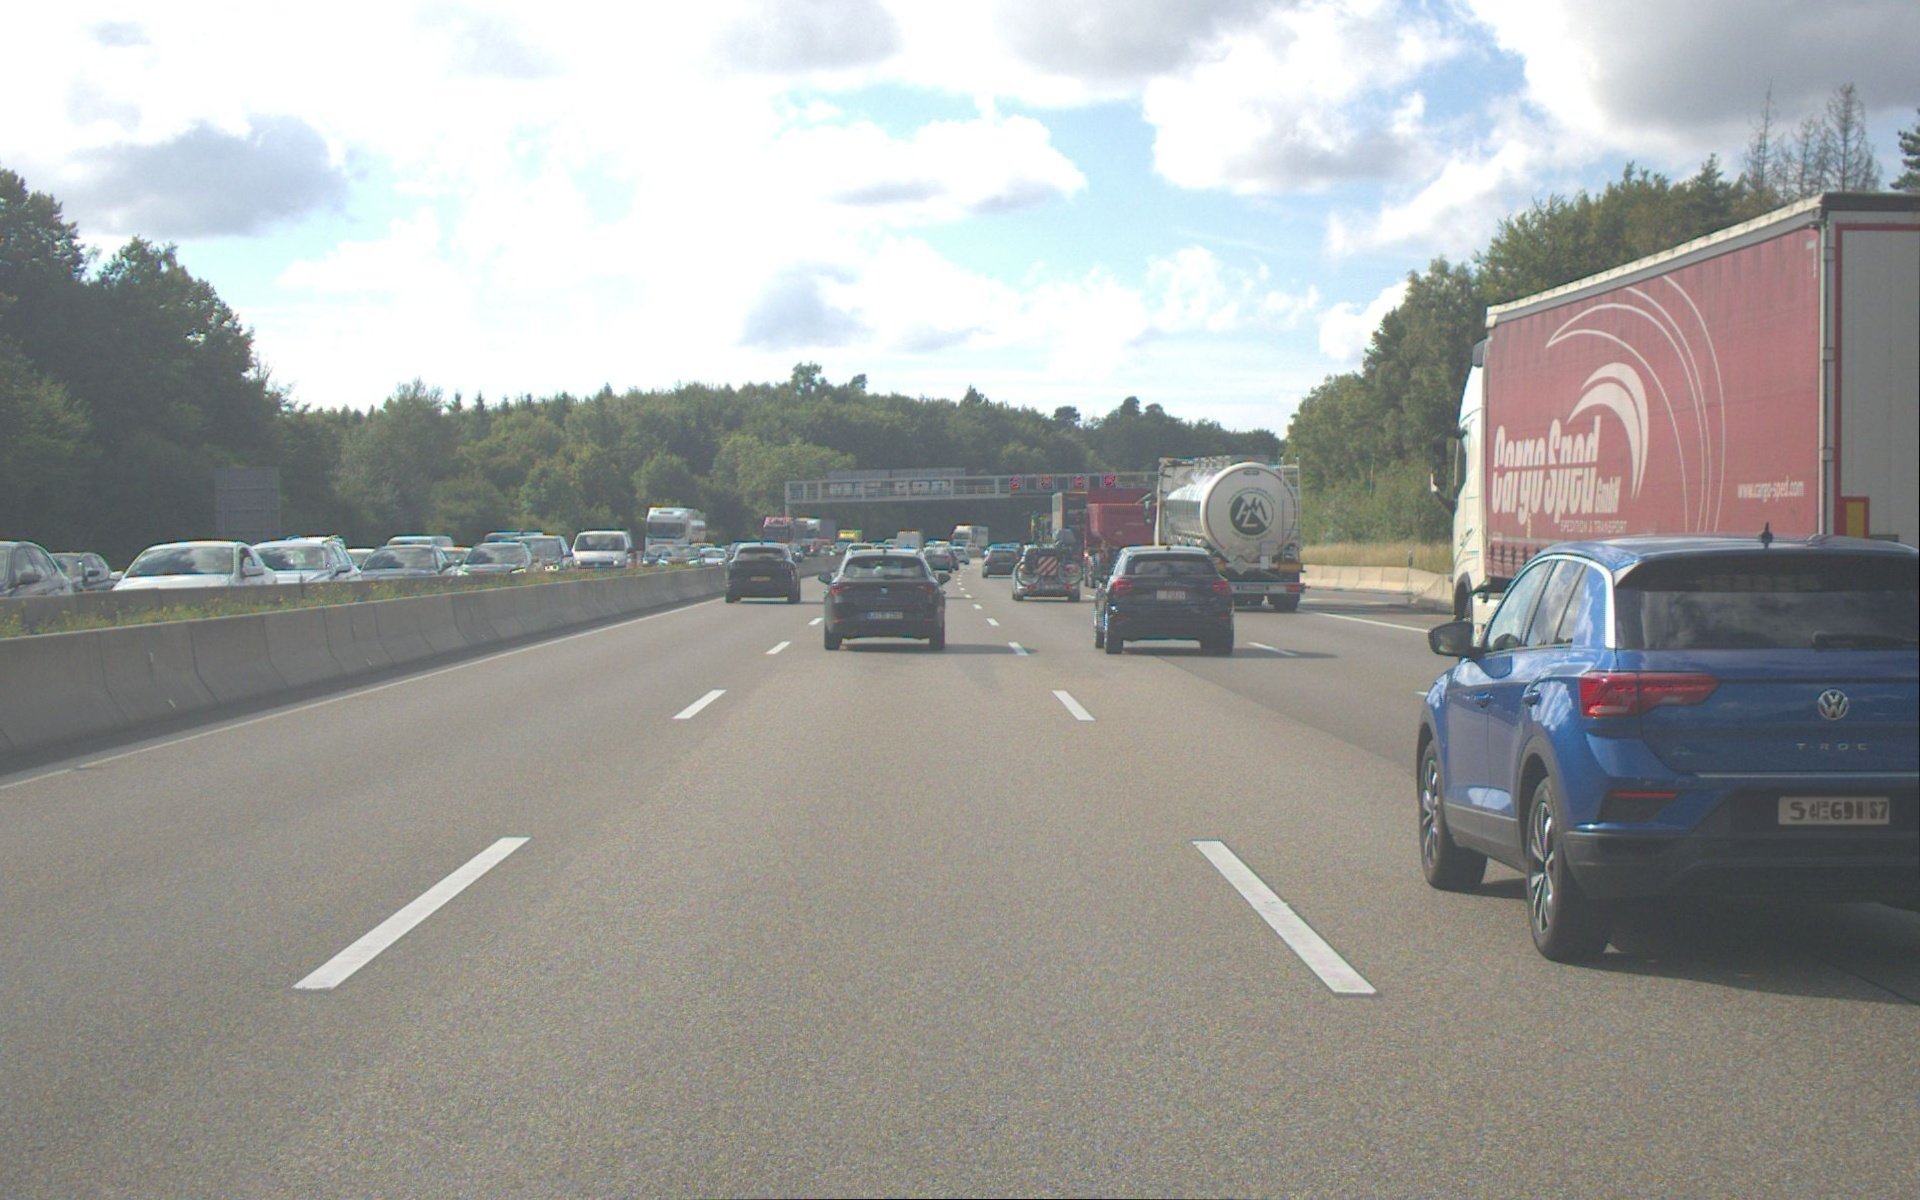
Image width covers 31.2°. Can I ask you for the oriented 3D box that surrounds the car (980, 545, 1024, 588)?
[{"bbox_3d":[2.022,-1.624,166.622,1.993,2.007,4.000,1,0,-1],"label":"car"}]

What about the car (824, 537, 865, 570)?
[{"bbox_3d":[-6.590,-2.646,196.626,2.154,1.770,4.000,1,0,0],"label":"car"}]

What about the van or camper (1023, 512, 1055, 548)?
[{"bbox_3d":[5.533,-4.899,240.912,2.083,2.484,4.225,0,1,-1],"label":"van or camper"}]

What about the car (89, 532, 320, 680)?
[{"bbox_3d":[-10.032,0.104,45.994,1.958,1.858,4.550,1,-1,1],"label":"car"}]

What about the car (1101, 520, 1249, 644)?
[{"bbox_3d":[3.007,-0.242,48.706,1.799,1.639,4.000,1,0,0],"label":"car"}]

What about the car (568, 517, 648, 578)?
[{"bbox_3d":[-11.462,-1.694,112.274,1.993,1.858,4.550,1,-1,1],"label":"car"}]

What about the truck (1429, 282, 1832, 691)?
[{"bbox_3d":[7.120,-1.092,37.405,3.080,4.050,6.069,1,-1,-1],"label":"truck"}]

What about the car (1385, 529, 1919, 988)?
[{"bbox_3d":[2.983,0.518,13.835,1.924,1.536,4.645,0,0,-1],"label":"car"}]

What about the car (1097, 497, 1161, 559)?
[{"bbox_3d":[5.969,-2.528,121.585,1.993,2.007,4.000,1,-1,-1],"label":"car"}]

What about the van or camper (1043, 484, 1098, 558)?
[{"bbox_3d":[5.027,-3.596,157.769,2.351,3.133,5.710,1,-1,1],"label":"van or camper"}]

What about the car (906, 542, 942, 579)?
[{"bbox_3d":[-2.044,-2.232,194.805,1.993,2.007,4.000,-1,-1,-1],"label":"car"}]

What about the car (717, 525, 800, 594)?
[{"bbox_3d":[-5.320,-1.079,91.169,1.993,1.770,4.000,0,1,0],"label":"car"}]

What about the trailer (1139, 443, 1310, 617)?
[{"bbox_3d":[6.394,-1.587,85.087,3.036,4.002,12.245,0,0,-1],"label":"trailer"}]

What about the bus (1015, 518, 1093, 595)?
[{"bbox_3d":[2.588,-1.178,95.158,1.993,2.007,4.000,1,-1,0],"label":"bus"}]

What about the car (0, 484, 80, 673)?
[{"bbox_3d":[-11.155,-0.223,37.567,1.993,2.007,4.000,1,-1,1],"label":"car"}]

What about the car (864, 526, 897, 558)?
[{"bbox_3d":[-5.215,-3.790,225.245,1.993,2.007,4.001,1,1,-3],"label":"car"}]

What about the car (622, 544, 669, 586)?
[{"bbox_3d":[-16.170,-1.790,176.794,1.993,2.007,4.000,1,-1,0],"label":"car"}]

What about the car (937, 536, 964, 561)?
[{"bbox_3d":[-0.607,-3.274,218.296,1.675,1.587,3.628,-1,1,-1],"label":"car"}]

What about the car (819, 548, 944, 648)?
[{"bbox_3d":[-1.179,-0.028,50.141,1.734,1.360,4.000,1,0,-2],"label":"car"}]

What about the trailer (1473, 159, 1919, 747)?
[{"bbox_3d":[7.233,-0.901,30.533,3.038,4.021,13.890,1,-1,-1],"label":"trailer"}]

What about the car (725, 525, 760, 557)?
[{"bbox_3d":[-14.205,-3.849,224.524,1.993,2.007,4.000,0,1,0],"label":"car"}]

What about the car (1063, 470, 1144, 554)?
[{"bbox_3d":[5.467,-3.342,131.692,2.866,2.981,5.149,1,-1,1],"label":"car"}]

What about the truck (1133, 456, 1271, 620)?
[{"bbox_3d":[6.335,-1.572,90.865,3.045,4.146,7.127,0,0,-1],"label":"truck"}]
